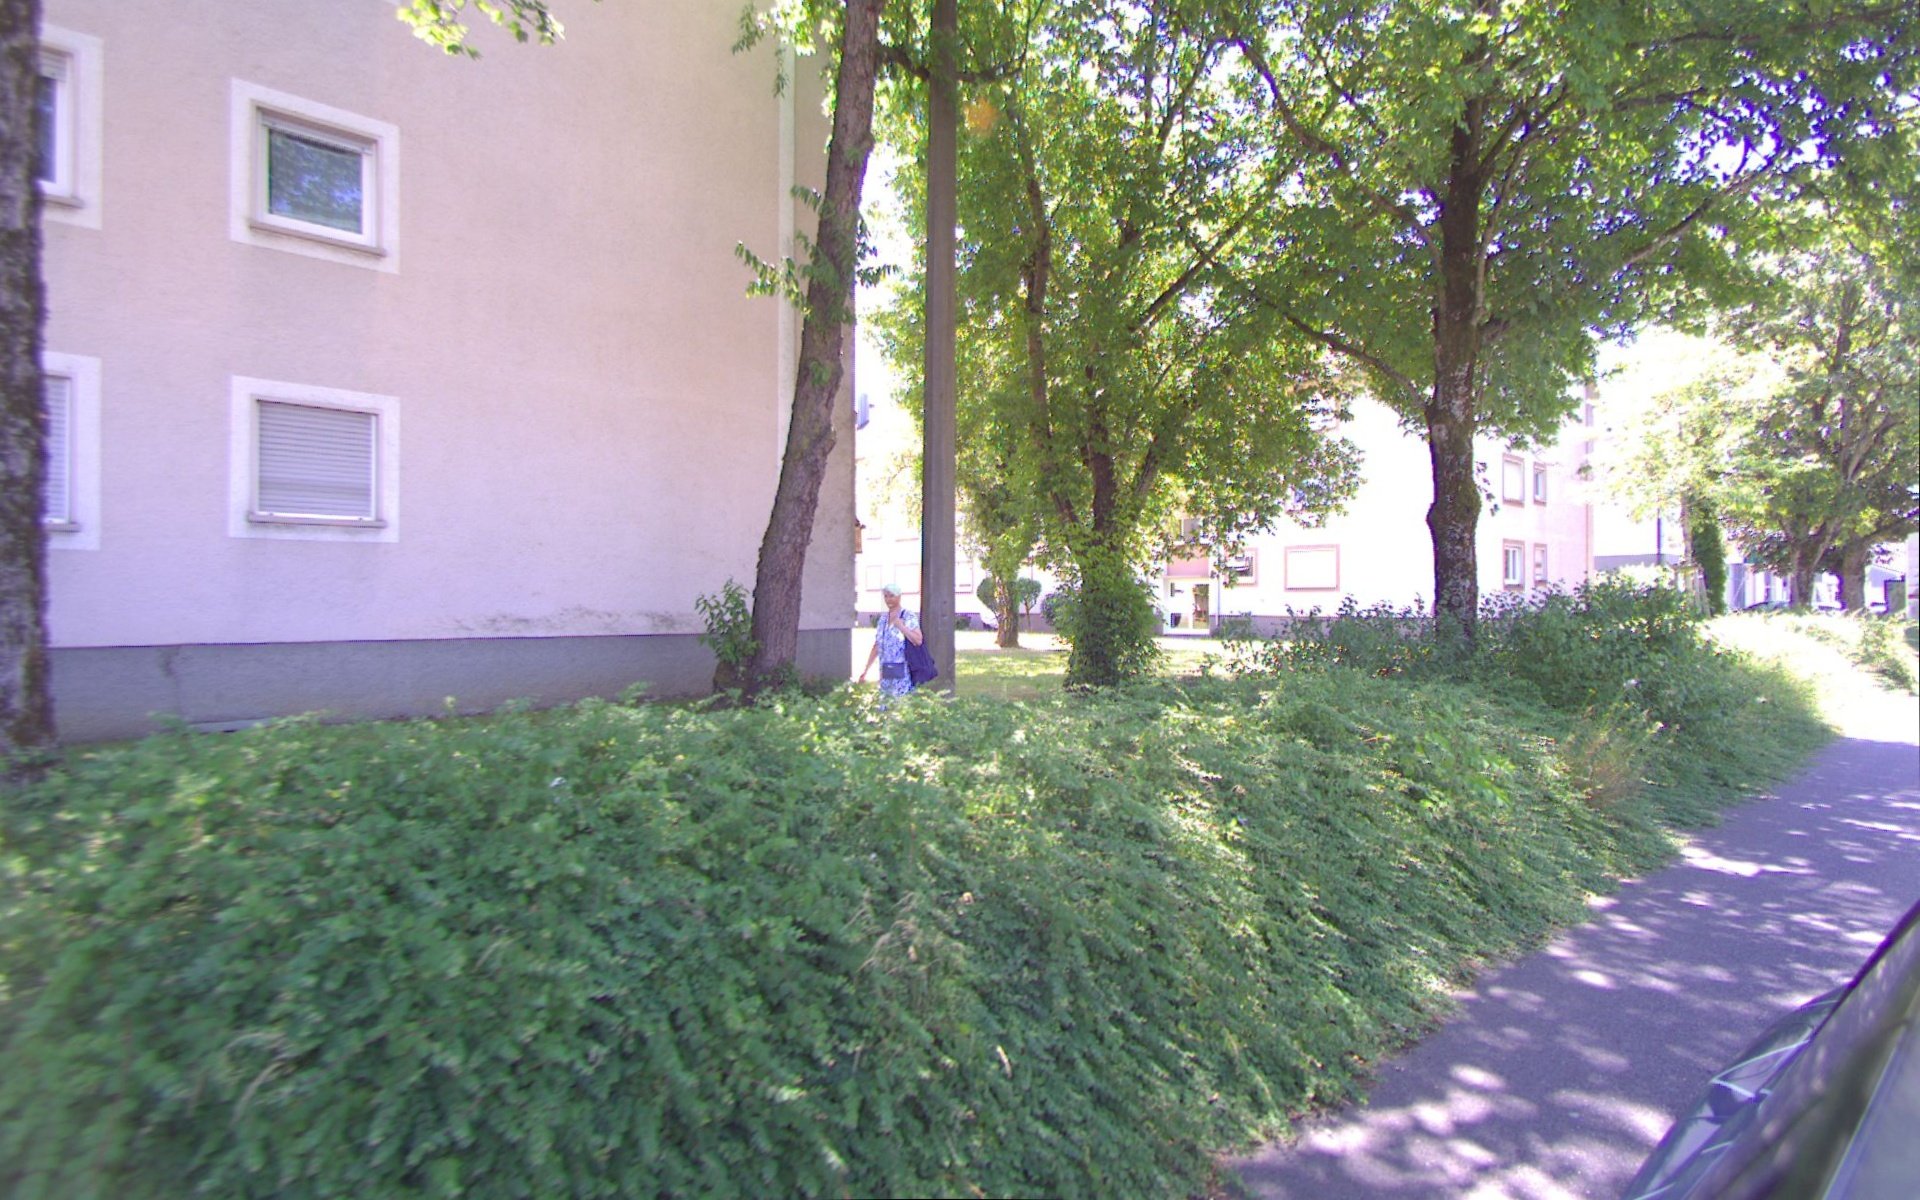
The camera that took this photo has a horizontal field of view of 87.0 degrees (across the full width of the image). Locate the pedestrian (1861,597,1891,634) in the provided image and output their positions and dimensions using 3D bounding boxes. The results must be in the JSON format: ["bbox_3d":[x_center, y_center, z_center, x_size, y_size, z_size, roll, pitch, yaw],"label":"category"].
[{"bbox_3d":[41.915,0.691,46.292,0.991,1.662,0.842,0,0,-36],"label":"pedestrian"}]

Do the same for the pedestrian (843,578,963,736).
[{"bbox_3d":[-0.521,0.483,9.239,0.873,1.351,0.663,0,0,-41],"label":"pedestrian"}]

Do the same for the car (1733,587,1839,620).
[{"bbox_3d":[42.439,0.150,52.073,1.766,1.569,3.995,0,2,-41],"label":"car"}]

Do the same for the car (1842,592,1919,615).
[{"bbox_3d":[70.416,0.255,77.022,1.958,1.662,4.606,0,1,-21],"label":"car"}]

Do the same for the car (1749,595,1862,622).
[{"bbox_3d":[45.243,0.414,54.282,4.315,1.388,1.937,0,0,27],"label":"car"}]

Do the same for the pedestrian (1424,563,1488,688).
[{"bbox_3d":[7.947,0.395,16.224,0.648,1.938,0.705,0,0,-38],"label":"pedestrian"}]

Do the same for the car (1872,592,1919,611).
[{"bbox_3d":[75.982,0.124,81.044,1.768,1.479,4.007,0,1,-25],"label":"car"}]
